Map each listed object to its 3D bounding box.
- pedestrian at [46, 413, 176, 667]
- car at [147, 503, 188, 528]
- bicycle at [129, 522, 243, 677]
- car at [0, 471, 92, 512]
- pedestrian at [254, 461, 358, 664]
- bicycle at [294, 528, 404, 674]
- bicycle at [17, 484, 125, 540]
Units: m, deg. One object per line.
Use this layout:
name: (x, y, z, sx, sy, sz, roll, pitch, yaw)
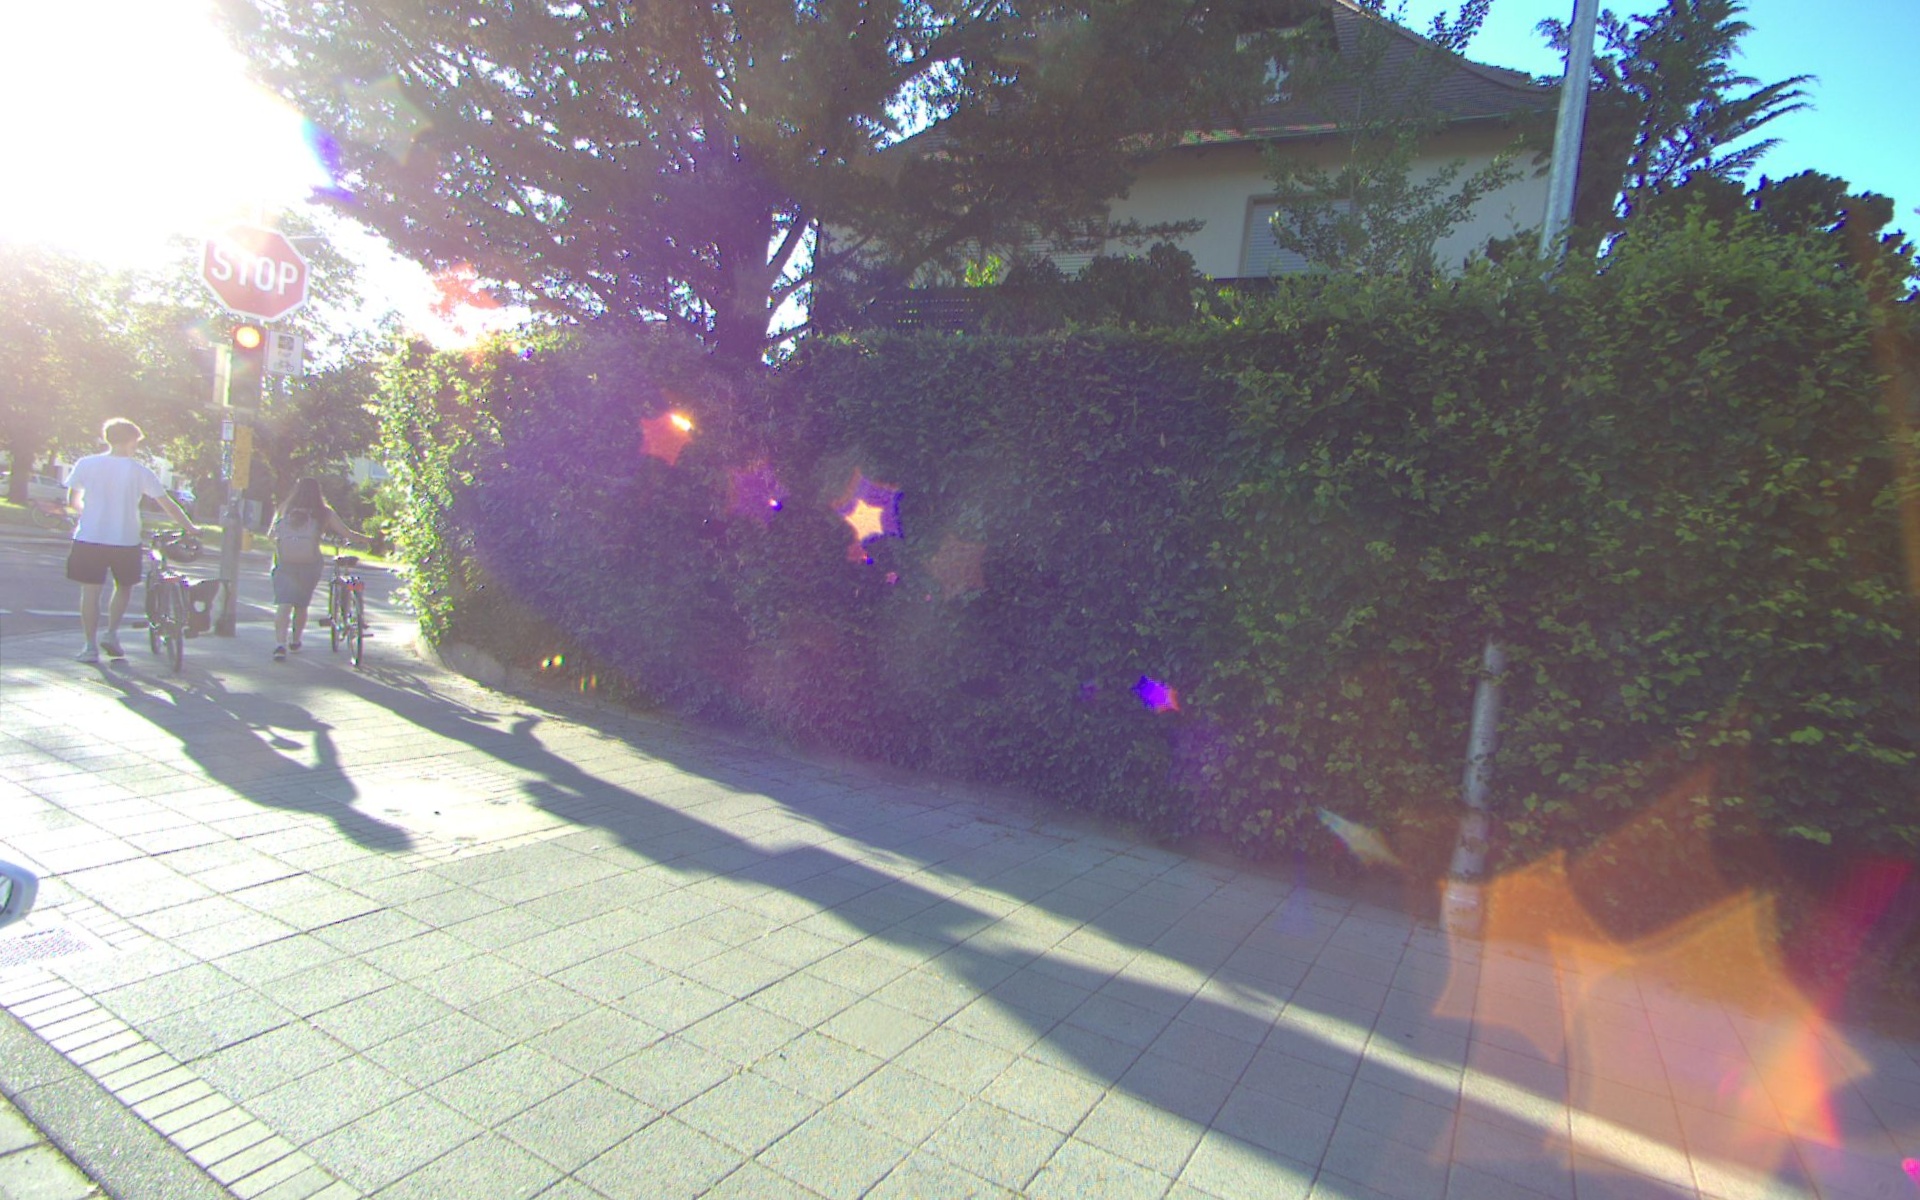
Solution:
pedestrian: (-6.776, -0.477, 8.019, 0.870, 1.891, 0.668, 10, 6, 43)
car: (-55.172, -5.867, 70.084, 1.651, 1.435, 3.514, 7, 0, -30)
bicycle: (-6.408, -0.041, 8.295, 1.767, 1.112, 0.485, 7, 3, 45)
car: (-46.397, -5.481, 50.545, 1.569, 1.445, 3.854, 7, 0, 26)
pedestrian: (-5.865, -0.334, 9.014, 0.665, 1.732, 0.615, 2, 6, -40)
bicycle: (-5.593, -0.018, 9.170, 0.485, 1.158, 1.578, 3, 4, -43)
bicycle: (-23.209, -2.288, 26.313, 0.609, 1.146, 1.956, 8, 1, 32)
